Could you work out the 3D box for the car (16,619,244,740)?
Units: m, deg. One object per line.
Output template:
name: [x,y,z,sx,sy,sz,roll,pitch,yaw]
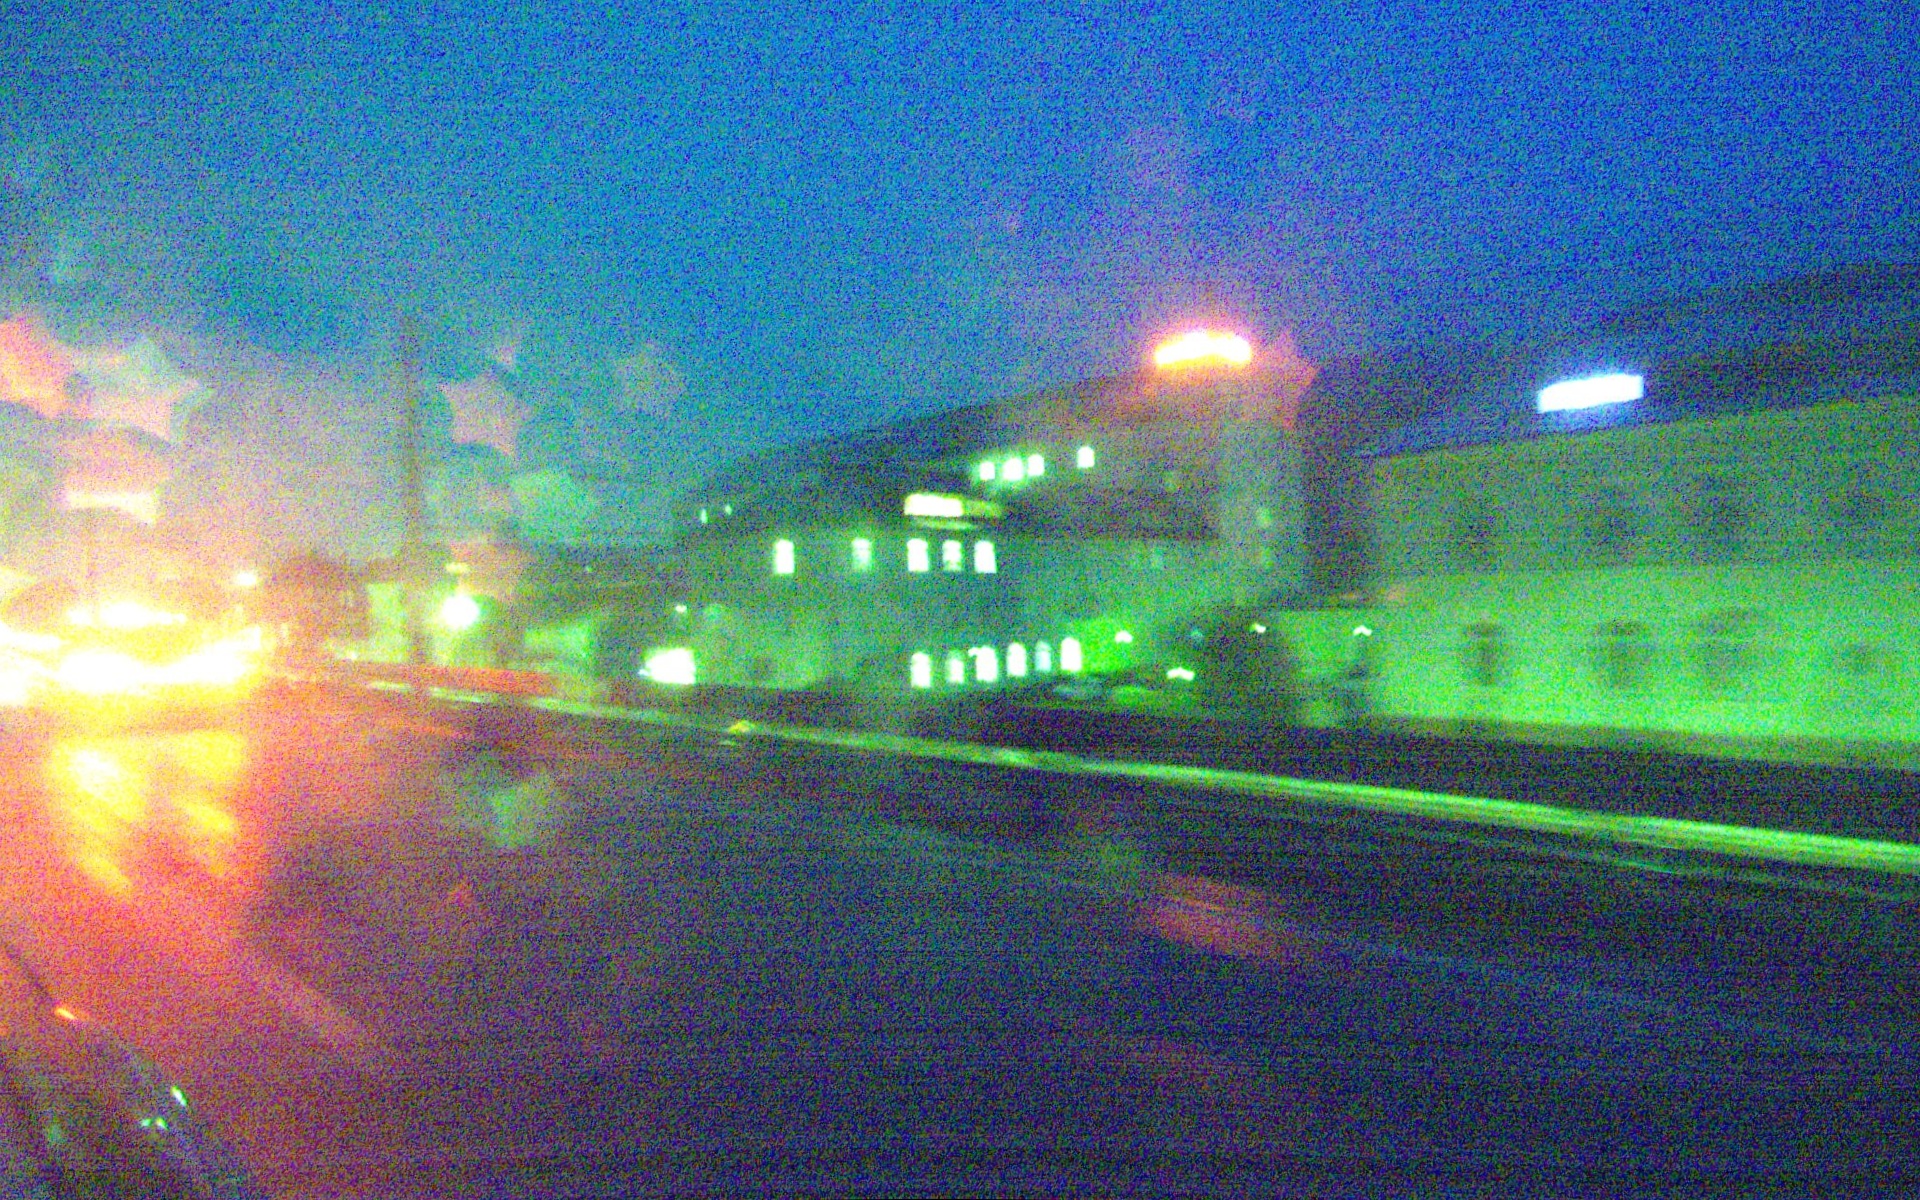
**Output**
car: [-11.961,1.029,14.484,4.391,1.459,1.849,-2,-1,41]
